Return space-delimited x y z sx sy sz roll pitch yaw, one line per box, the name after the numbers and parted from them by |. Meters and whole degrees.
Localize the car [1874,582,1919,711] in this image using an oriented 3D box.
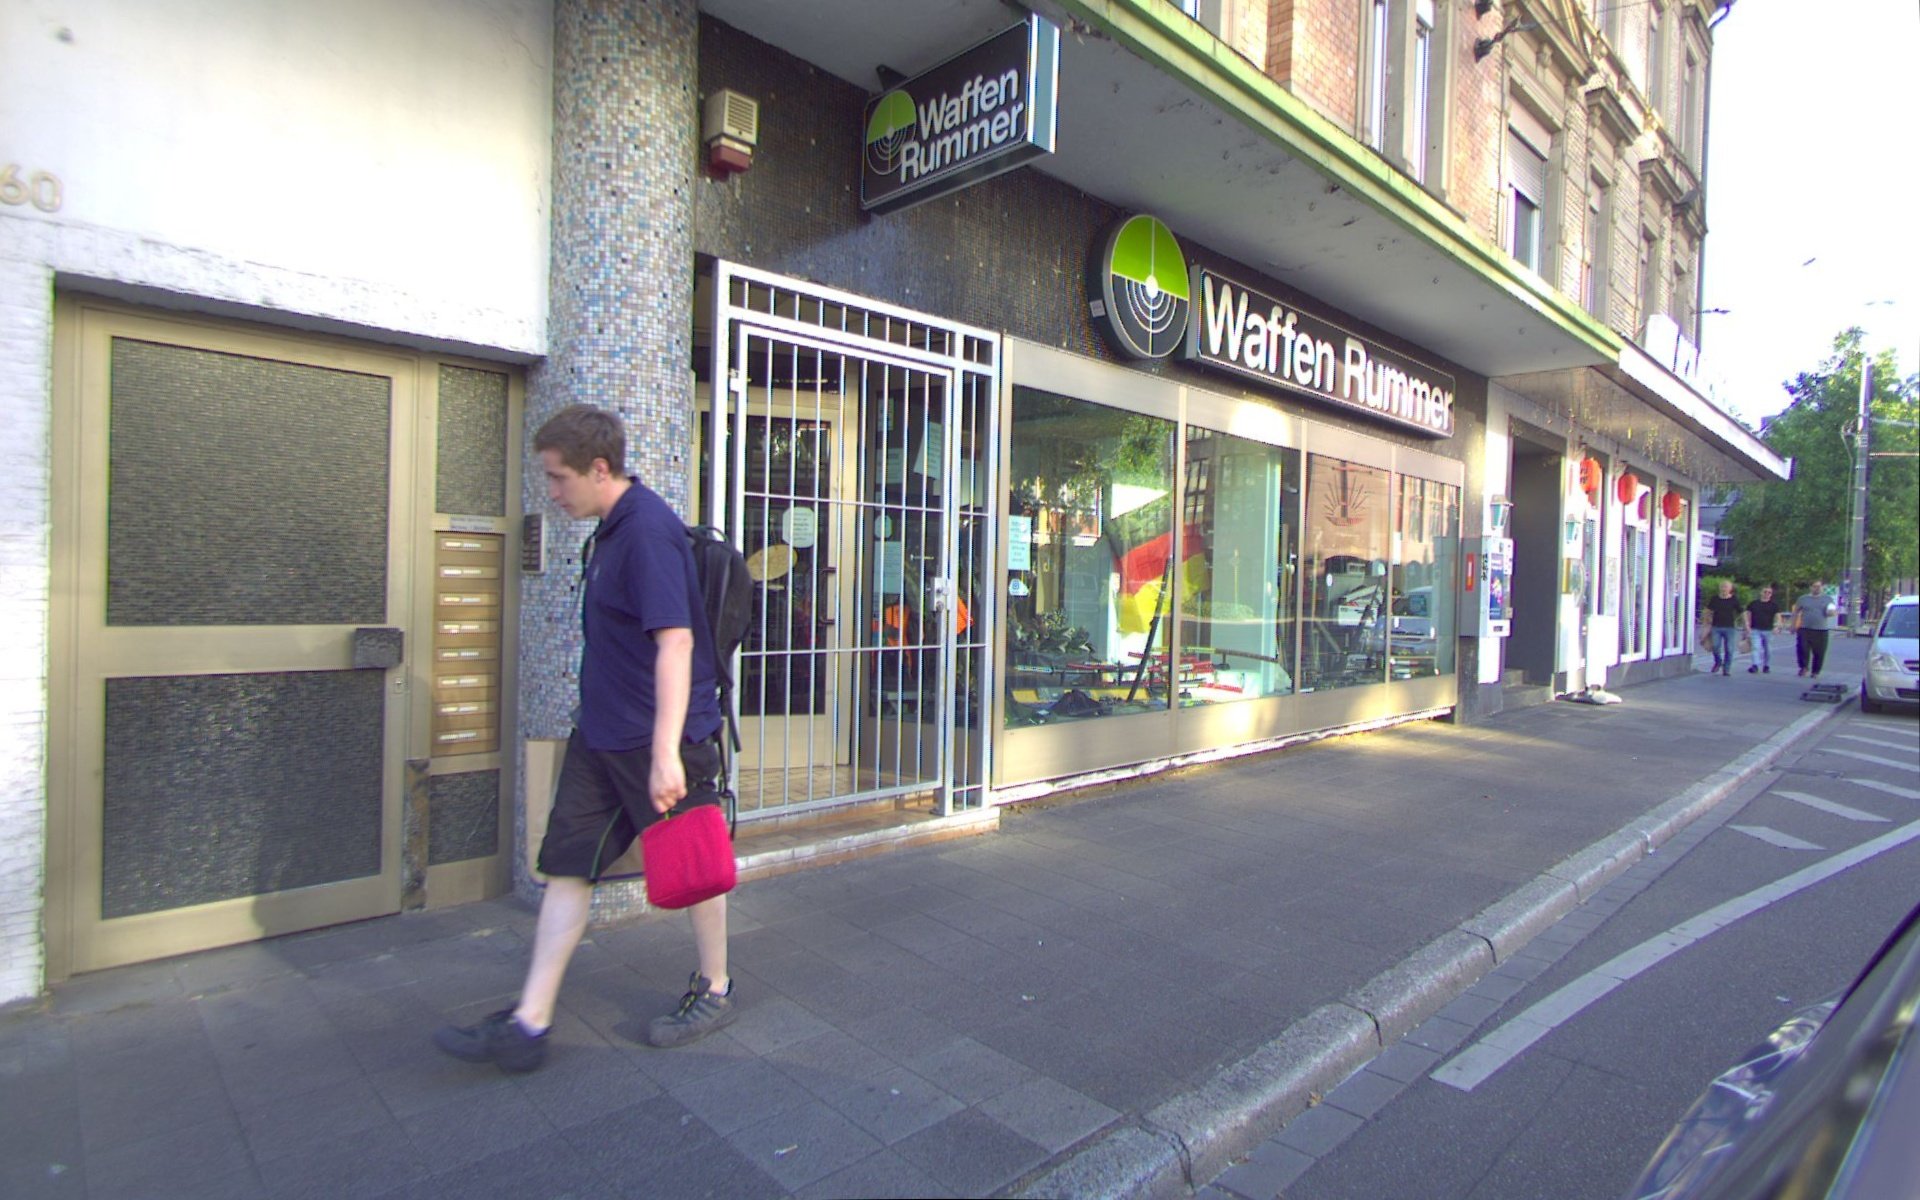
13.808 0.585 13.941 1.638 1.635 3.881 1 1 45 | car

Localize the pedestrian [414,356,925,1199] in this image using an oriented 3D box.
-0.825 0.364 2.869 1.037 1.814 0.947 0 2 -44 | pedestrian

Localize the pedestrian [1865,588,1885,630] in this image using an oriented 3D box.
38.648 0.358 42.764 0.430 1.734 0.493 0 3 -44 | pedestrian

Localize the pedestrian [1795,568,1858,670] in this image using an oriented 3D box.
16.981 0.359 19.840 1.016 1.922 0.794 0 2 -44 | pedestrian

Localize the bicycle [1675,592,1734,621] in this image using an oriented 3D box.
32.518 0.273 44.233 2.012 1.109 0.628 4 2 40 | bicycle

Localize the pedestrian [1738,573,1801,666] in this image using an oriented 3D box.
16.186 0.369 20.232 1.016 1.778 0.811 0 2 -44 | pedestrian

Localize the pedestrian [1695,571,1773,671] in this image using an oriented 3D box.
14.299 0.371 18.692 1.016 1.734 0.902 0 4 -44 | pedestrian

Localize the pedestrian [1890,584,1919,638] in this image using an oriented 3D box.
31.711 0.370 33.853 0.930 1.759 0.788 0 1 -44 | pedestrian

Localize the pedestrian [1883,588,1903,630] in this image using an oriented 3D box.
38.901 0.366 42.195 0.430 1.734 0.493 0 3 -44 | pedestrian
